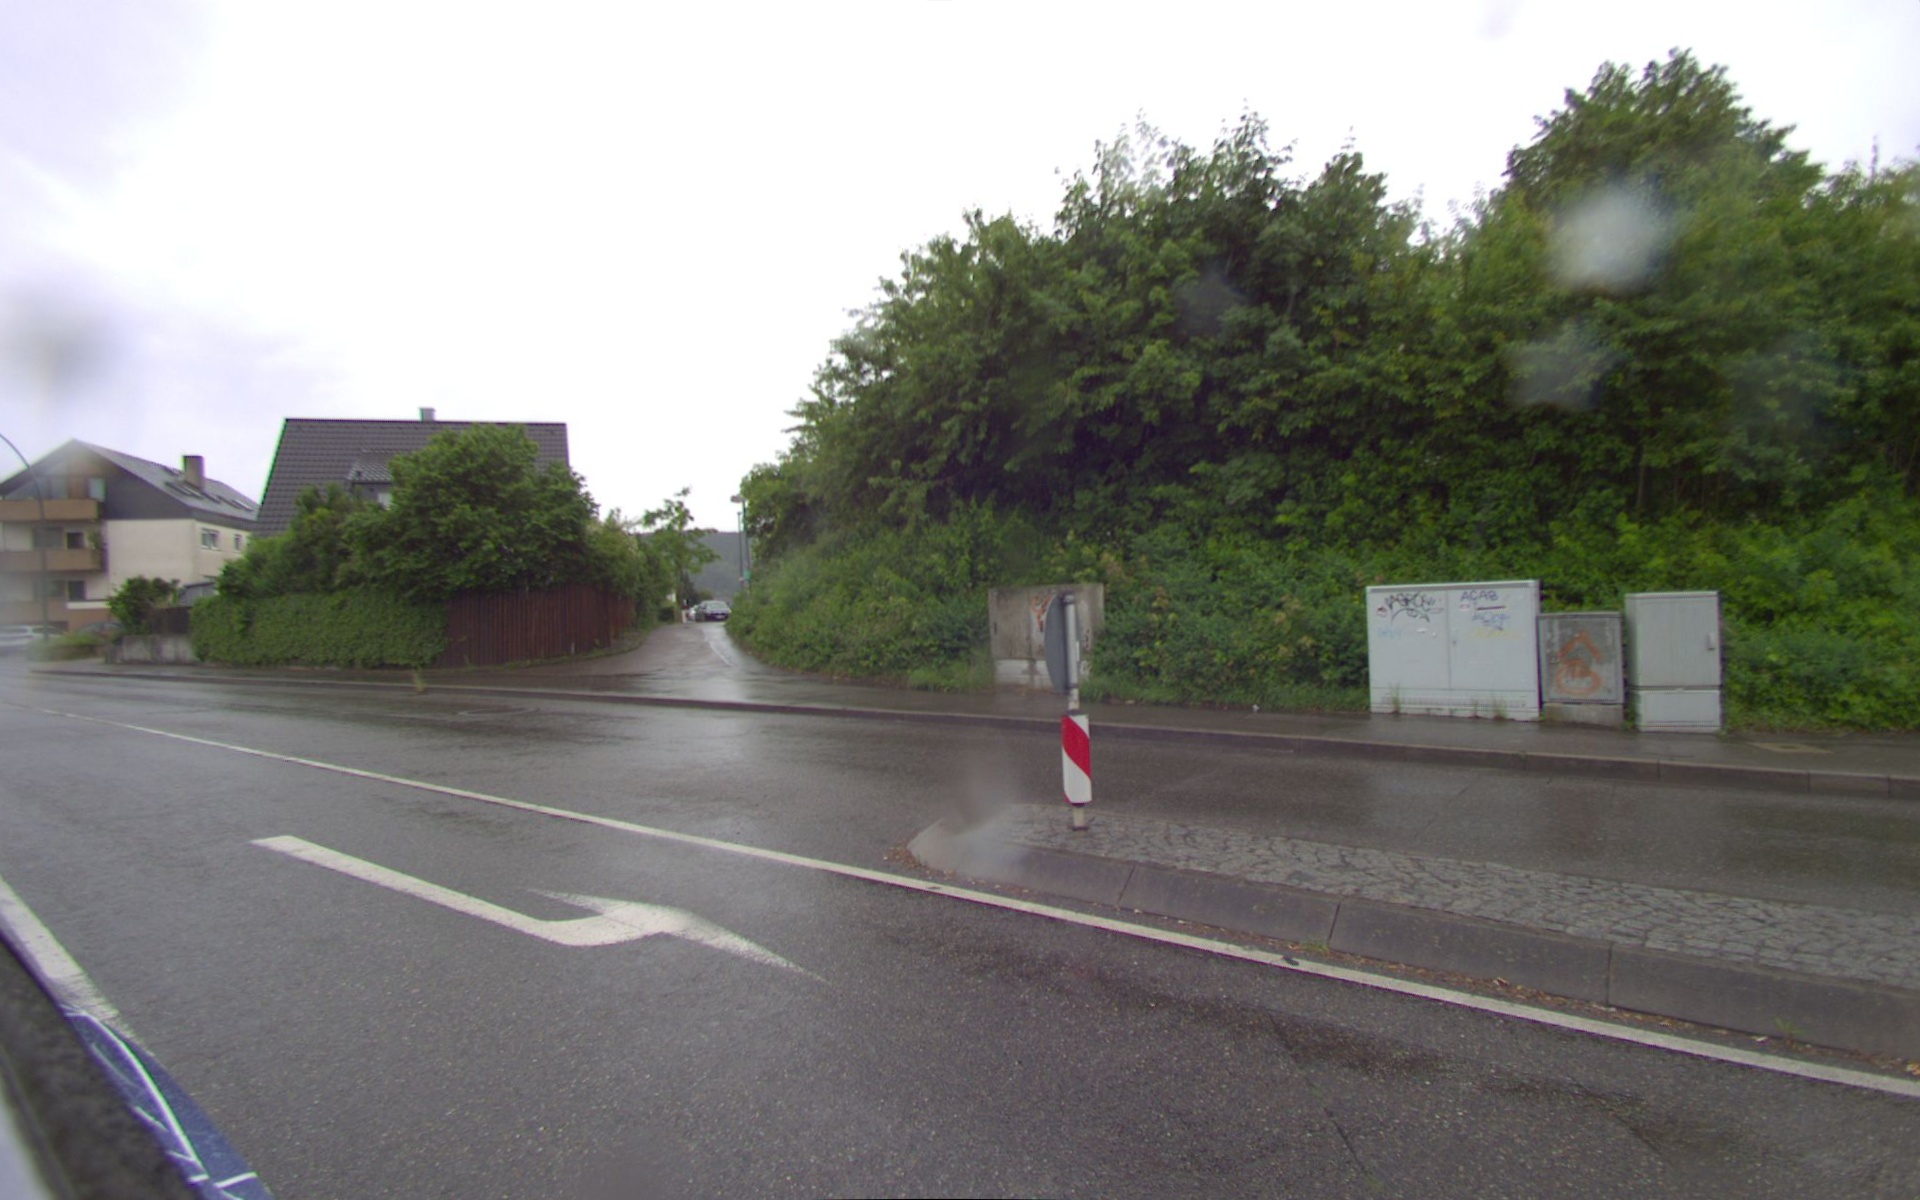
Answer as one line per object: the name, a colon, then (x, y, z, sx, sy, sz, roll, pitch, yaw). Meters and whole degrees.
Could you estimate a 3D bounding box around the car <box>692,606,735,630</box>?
car: (-16.076, 1.161, 65.955, 1.867, 1.494, 4.013, -1, -1, -26)

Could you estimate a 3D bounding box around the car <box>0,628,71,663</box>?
car: (-46.833, 2.250, 50.855, 1.638, 1.558, 4.012, -1, 0, -15)
